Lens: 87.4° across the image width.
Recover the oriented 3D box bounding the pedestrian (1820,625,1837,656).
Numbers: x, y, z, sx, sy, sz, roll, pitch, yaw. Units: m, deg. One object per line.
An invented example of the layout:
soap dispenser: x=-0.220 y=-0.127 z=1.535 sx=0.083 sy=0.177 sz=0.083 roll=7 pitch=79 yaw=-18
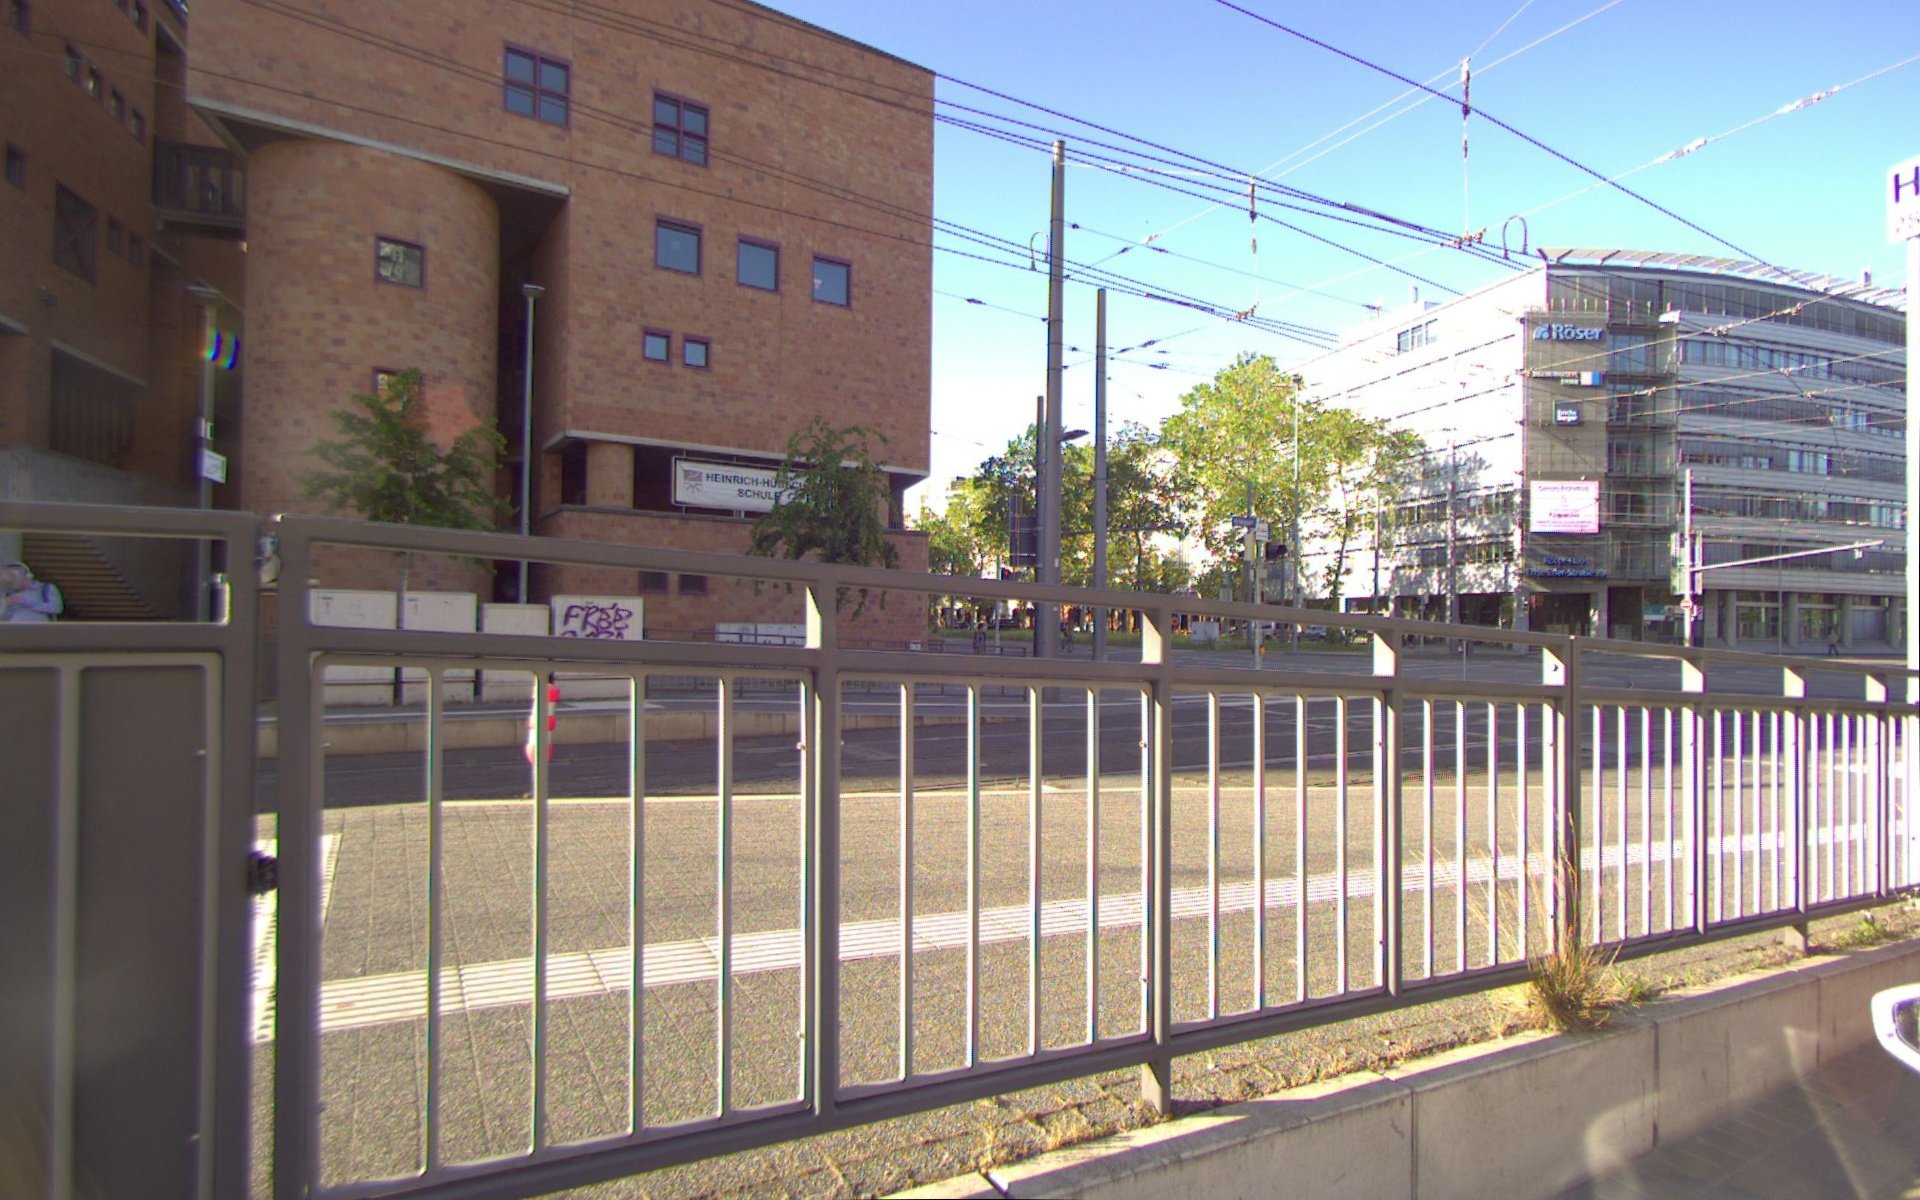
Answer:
pedestrian: x=58.882 y=2.725 z=68.127 sx=0.745 sy=2.040 sz=0.627 roll=2 pitch=0 yaw=-30

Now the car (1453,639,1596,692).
car: x=13.669 y=1.558 z=24.372 sx=2.841 sy=1.077 sz=1.238 roll=2 pitch=0 yaw=40

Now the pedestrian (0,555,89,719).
pedestrian: x=-9.669 y=0.379 z=10.539 sx=0.679 sy=1.656 sz=0.662 roll=2 pitch=0 yaw=-34

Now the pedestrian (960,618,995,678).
pedestrian: x=0.499 y=1.391 z=29.092 sx=0.785 sy=1.714 sz=0.587 roll=2 pitch=0 yaw=-29
